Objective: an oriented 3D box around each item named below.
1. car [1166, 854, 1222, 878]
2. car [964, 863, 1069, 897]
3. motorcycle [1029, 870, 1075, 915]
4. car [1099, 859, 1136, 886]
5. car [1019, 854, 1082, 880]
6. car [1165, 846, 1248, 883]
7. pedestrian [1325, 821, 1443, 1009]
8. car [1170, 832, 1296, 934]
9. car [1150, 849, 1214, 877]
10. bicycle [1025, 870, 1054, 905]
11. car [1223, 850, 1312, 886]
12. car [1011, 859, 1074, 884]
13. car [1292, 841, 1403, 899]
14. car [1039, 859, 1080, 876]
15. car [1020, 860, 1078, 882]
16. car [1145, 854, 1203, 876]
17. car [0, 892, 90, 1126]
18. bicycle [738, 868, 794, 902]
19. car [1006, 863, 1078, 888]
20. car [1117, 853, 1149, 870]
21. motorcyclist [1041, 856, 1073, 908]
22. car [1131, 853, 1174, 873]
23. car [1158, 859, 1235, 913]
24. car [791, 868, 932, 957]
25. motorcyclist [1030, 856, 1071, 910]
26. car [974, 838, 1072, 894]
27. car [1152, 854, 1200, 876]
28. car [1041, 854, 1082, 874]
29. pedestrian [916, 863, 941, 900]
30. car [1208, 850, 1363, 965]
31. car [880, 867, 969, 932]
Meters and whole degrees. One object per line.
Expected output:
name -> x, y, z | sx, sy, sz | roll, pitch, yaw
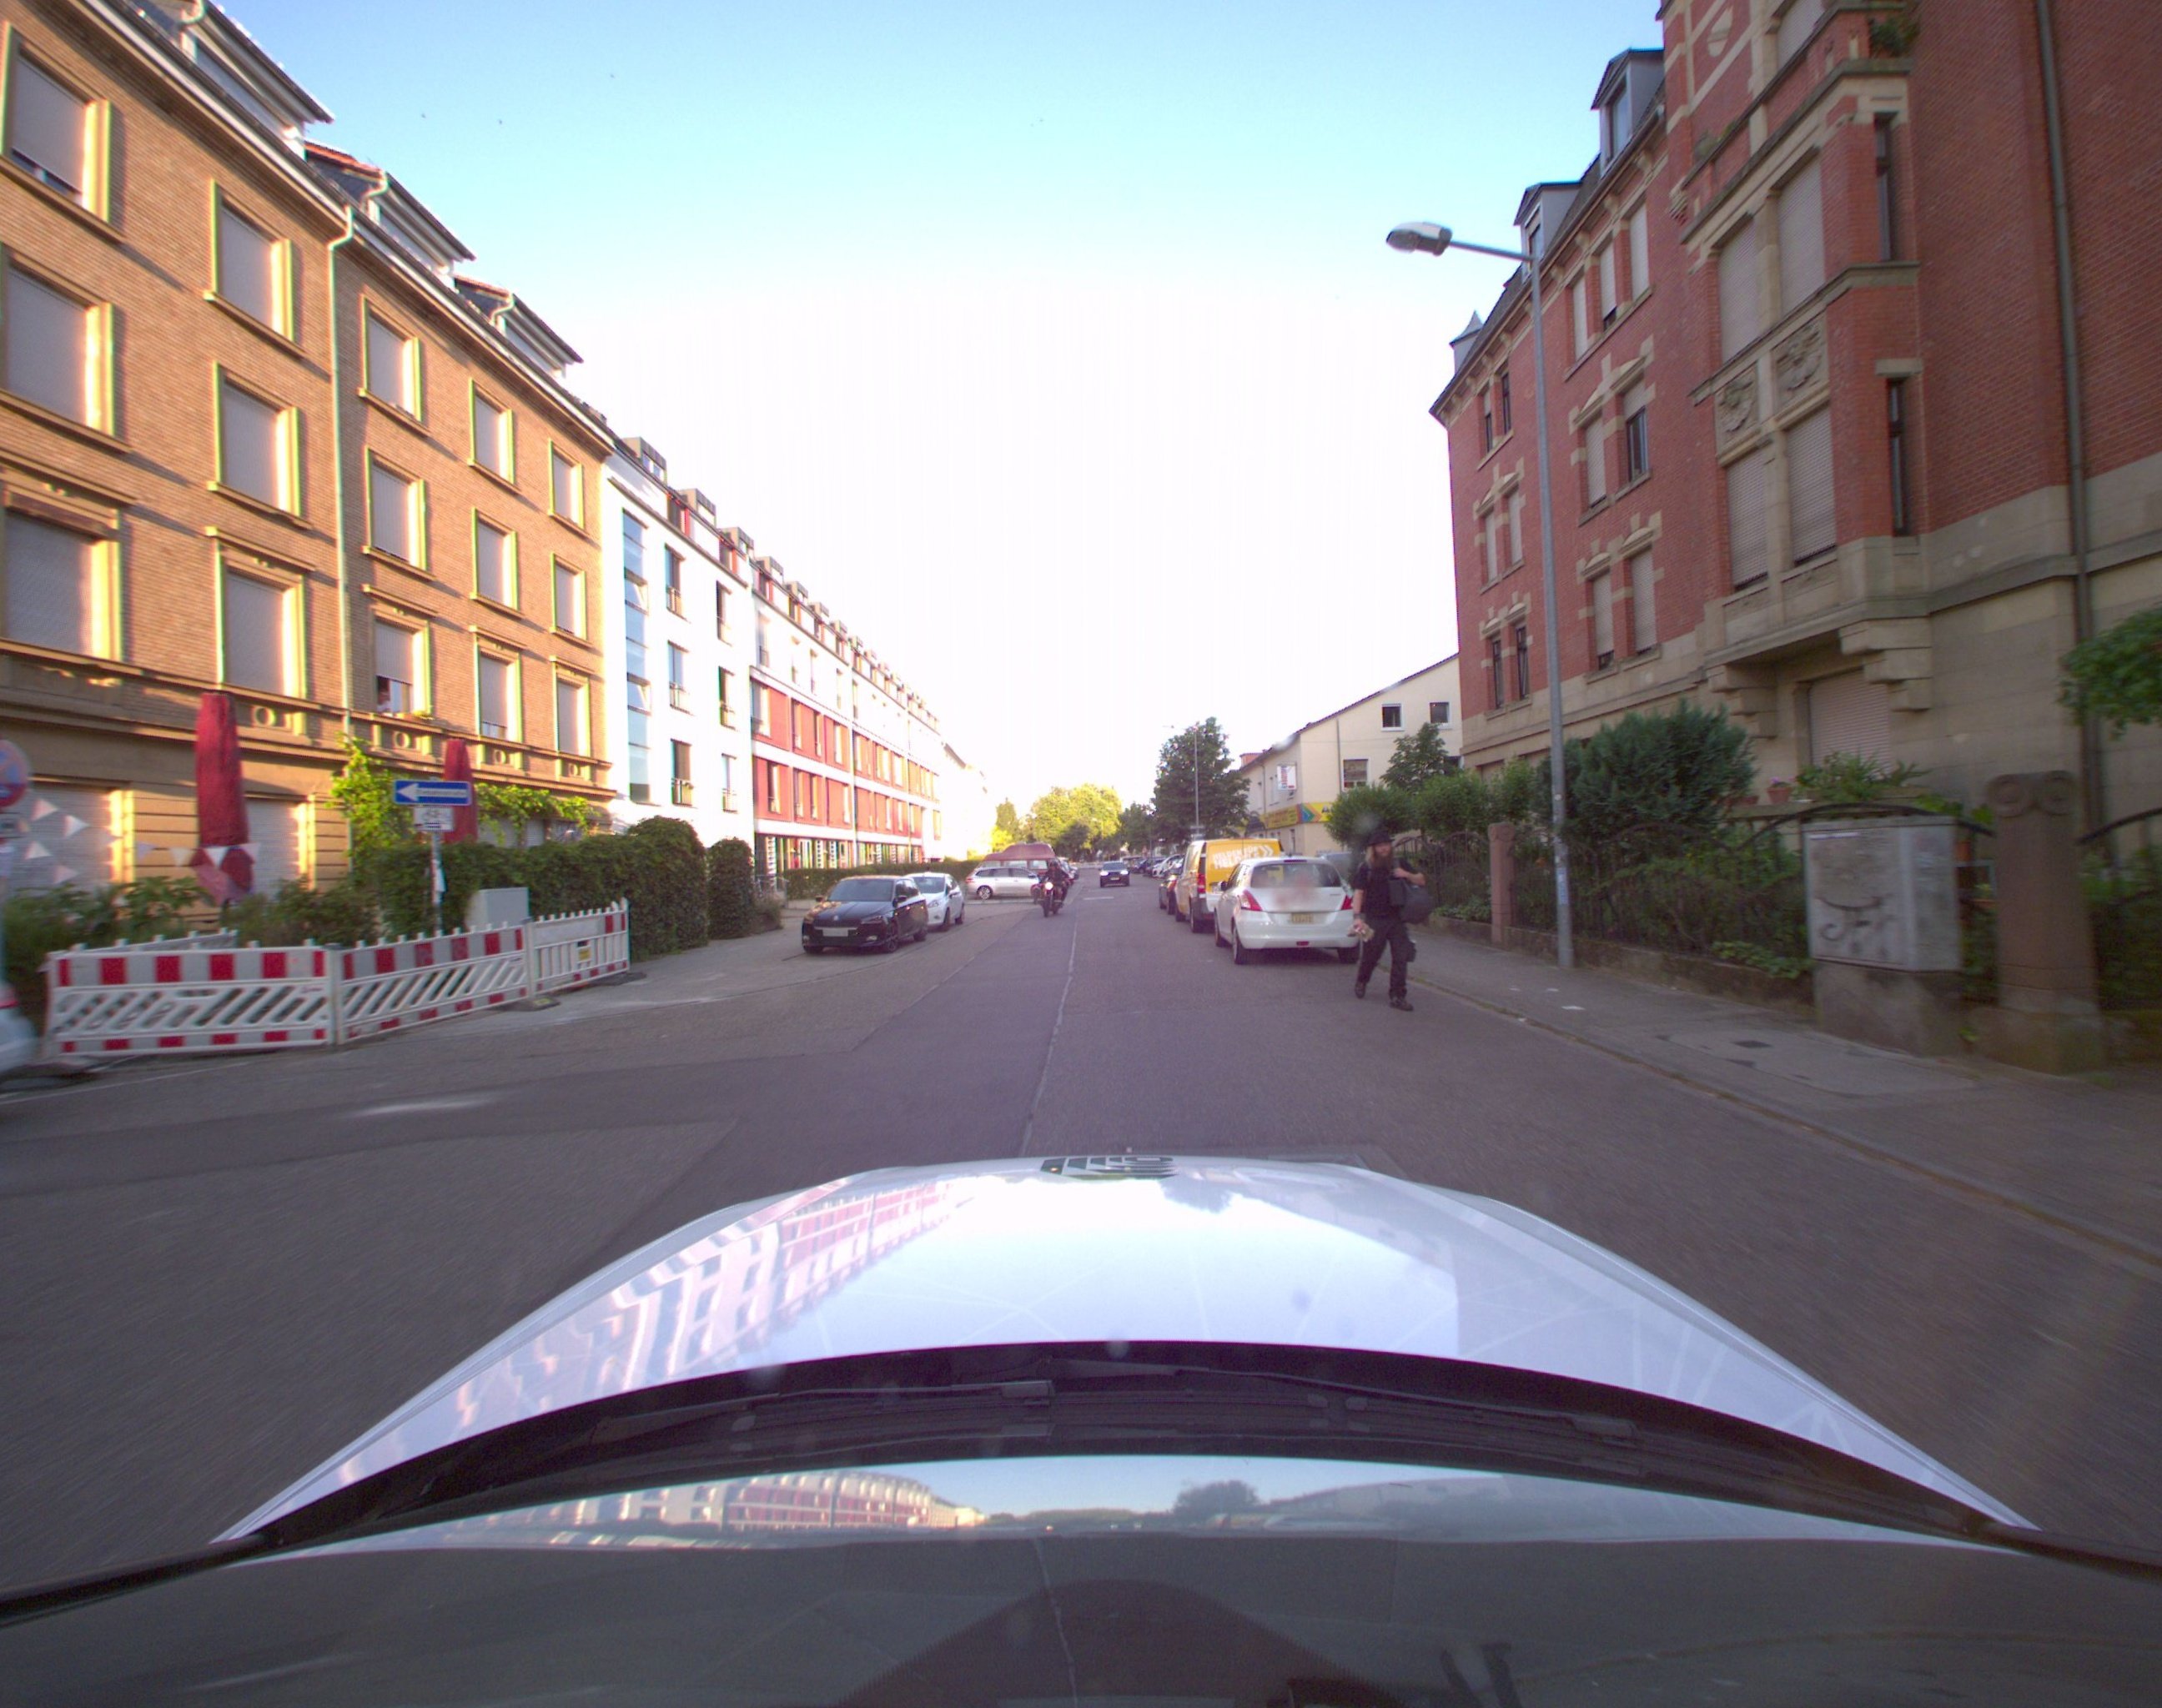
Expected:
car -> 8.419, 0.894, 60.751 | 3.896, 1.526, 1.940 | -4, -1, 2
car -> -2.858, 1.145, 36.777 | 4.603, 1.460, 1.879 | 0, -1, -2
motorcycle -> -0.838, 1.135, 24.452 | 0.841, 1.209, 2.081 | -5, -1, 11
car -> 2.289, 1.100, 49.892 | 1.769, 1.517, 4.009 | -3, -1, 8
car -> -2.387, 1.036, 64.343 | 4.833, 2.021, 1.907 | 0, -1, 1
car -> 8.035, 0.672, 52.678 | 4.971, 1.983, 2.221 | -4, -1, 2
pedestrian -> 2.930, 0.561, 7.977 | 0.883, 1.722, 0.961 | -1, -1, 8
car -> 3.146, 0.559, 17.919 | 1.886, 1.884, 5.083 | -1, -1, 1
car -> 8.378, 0.744, 67.892 | 4.929, 1.958, 2.049 | -4, -1, -1
bicycle -> -1.568, 1.260, 31.448 | 0.804, 1.221, 2.867 | 0, 0, 3
car -> 9.237, 0.692, 40.502 | 4.034, 1.514, 1.757 | -3, 1, 2
car -> -2.691, 1.233, 57.432 | 4.241, 1.660, 2.001 | 0, -1, 1
car -> 7.543, 0.432, 23.484 | 1.720, 1.424, 4.423 | -3, -1, 0
car -> -2.238, 1.418, 85.444 | 4.241, 1.715, 2.001 | 0, -1, 1
car -> -2.382, 1.293, 61.783 | 4.241, 1.652, 1.888 | 0, -1, 1
car -> 8.266, 0.984, 72.789 | 4.929, 1.689, 2.076 | -4, -1, -1
car -> -9.204, 1.107, 4.333 | 4.615, 1.523, 1.802 | -2, -1, -33
bicycle -> -11.129, 1.090, 28.797 | 1.768, 1.148, 0.611 | 0, -1, 3
car -> -2.324, 1.286, 49.526 | 4.193, 1.490, 1.850 | 0, -1, 2
car -> 6.748, 0.943, 105.918 | 3.960, 1.911, 2.047 | -4, -1, -4
motorcyclist -> -0.730, 0.851, 24.976 | 0.782, 1.540, 0.547 | -5, -1, 11
car -> 7.916, 0.992, 90.288 | 4.469, 1.911, 1.685 | -4, -1, -4
car -> 3.234, 0.860, 23.557 | 1.715, 1.424, 4.254 | -1, 0, 1
car -> -4.322, 1.084, 16.622 | 1.697, 1.534, 3.845 | -1, -1, 2
motorcyclist -> -0.899, 0.854, 24.206 | 0.884, 1.505, 0.972 | -5, -1, 11
car -> -2.763, 0.564, 39.361 | 4.493, 2.584, 2.001 | 0, -1, 3
car -> 9.036, 1.081, 77.681 | 4.303, 1.804, 1.810 | -4, -1, -1
car -> -2.232, 1.124, 92.861 | 4.517, 2.134, 2.001 | 0, -1, 1
pedestrian -> -6.338, 1.122, 33.911 | 0.829, 1.501, 0.798 | 0, -1, 2
car -> 2.982, 0.722, 12.623 | 1.667, 1.477, 3.866 | -1, -1, 4
car -> -4.095, 1.145, 21.862 | 1.646, 1.530, 4.015 | -1, -1, -1
